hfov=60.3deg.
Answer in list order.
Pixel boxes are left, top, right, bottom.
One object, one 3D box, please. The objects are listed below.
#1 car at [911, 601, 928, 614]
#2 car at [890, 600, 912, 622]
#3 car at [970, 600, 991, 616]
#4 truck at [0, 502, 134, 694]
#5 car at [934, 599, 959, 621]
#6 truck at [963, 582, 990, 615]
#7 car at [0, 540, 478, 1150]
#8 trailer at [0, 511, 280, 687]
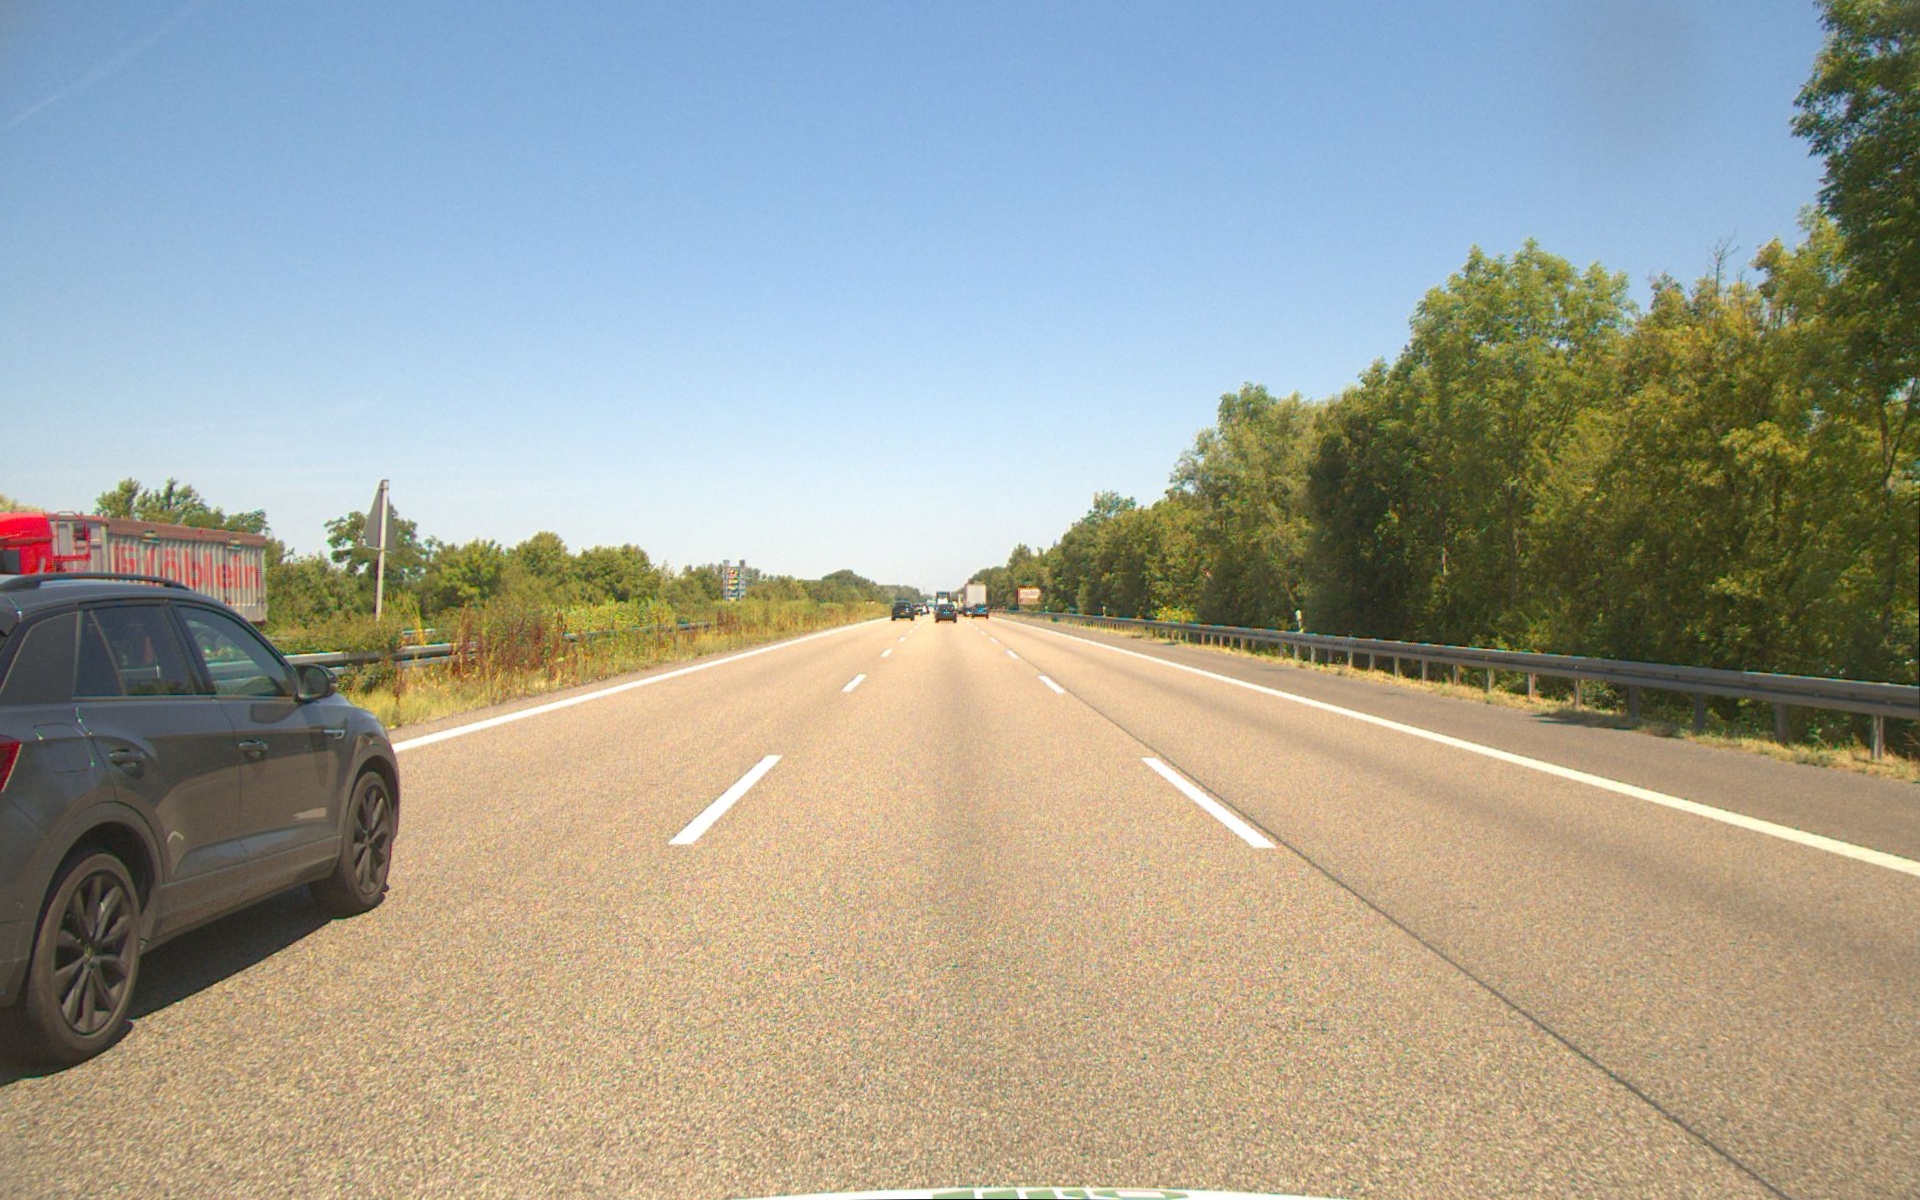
[{"bbox_3d":[-5.205,0.951,211.280,2.085,1.674,4.304,-1,0,0],"label":"car"},{"bbox_3d":[-5.041,0.929,142.467,1.842,1.823,3.999,0,1,-2],"label":"car"},{"bbox_3d":[2.192,0.862,178.100,2.085,1.611,4.304,-1,0,0],"label":"car"},{"bbox_3d":[-21.245,-0.019,36.676,3.015,3.937,5.590,-1,0,0],"label":"truck"},{"bbox_3d":[-1.030,0.750,128.293,1.864,1.611,4.304,-1,0,0],"label":"car"},{"bbox_3d":[2.052,-0.146,209.130,3.316,4.040,9.536,-1,0,0],"label":"truck"},{"bbox_3d":[-3.583,0.624,6.732,1.842,1.668,5.008,0,1,-1],"label":"car"},{"bbox_3d":[-21.277,-0.015,42.574,3.015,3.937,10.906,-1,0,0],"label":"trailer"}]
